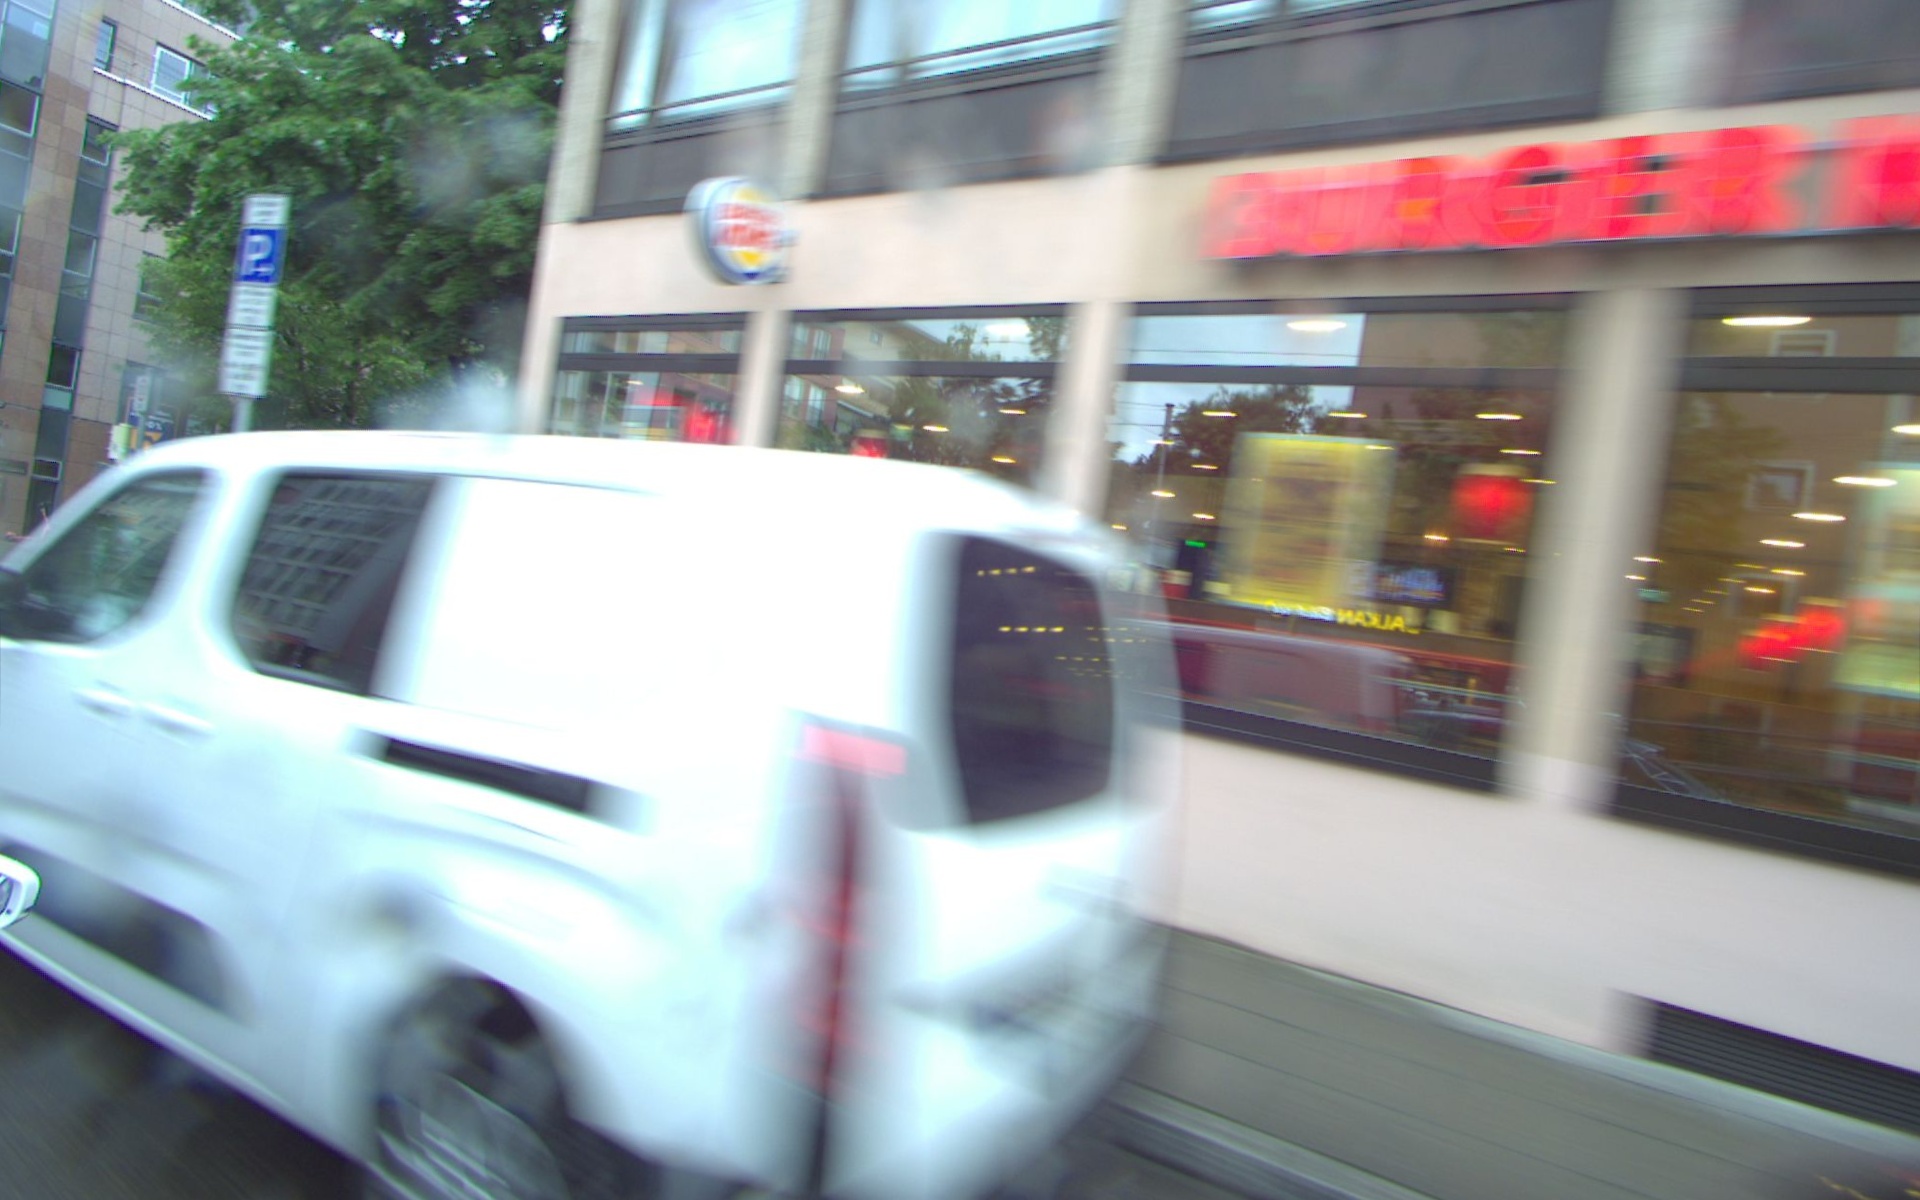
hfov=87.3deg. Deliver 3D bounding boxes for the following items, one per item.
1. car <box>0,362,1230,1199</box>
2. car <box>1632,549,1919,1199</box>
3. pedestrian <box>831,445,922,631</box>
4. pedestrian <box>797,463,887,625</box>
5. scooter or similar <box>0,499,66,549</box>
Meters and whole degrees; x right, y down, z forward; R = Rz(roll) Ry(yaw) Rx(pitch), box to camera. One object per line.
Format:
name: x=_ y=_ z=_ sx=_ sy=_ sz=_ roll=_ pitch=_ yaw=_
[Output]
car: x=-1.783 y=0.447 z=3.337 sx=4.696 sy=1.828 sz=1.910 roll=6 pitch=-1 yaw=30
car: x=3.004 y=1.039 z=0.435 sx=4.341 sy=1.635 sz=1.909 roll=6 pitch=-1 yaw=32
pedestrian: x=-0.898 y=-0.640 z=10.688 sx=0.657 sy=1.842 sz=0.594 roll=6 pitch=0 yaw=-18
pedestrian: x=-1.327 y=-0.606 z=11.227 sx=0.715 sy=1.669 sz=0.623 roll=6 pitch=0 yaw=-18
scooter or similar: x=-26.720 y=-2.170 z=28.937 sx=0.320 sy=1.242 sz=1.375 roll=7 pitch=0 yaw=34
